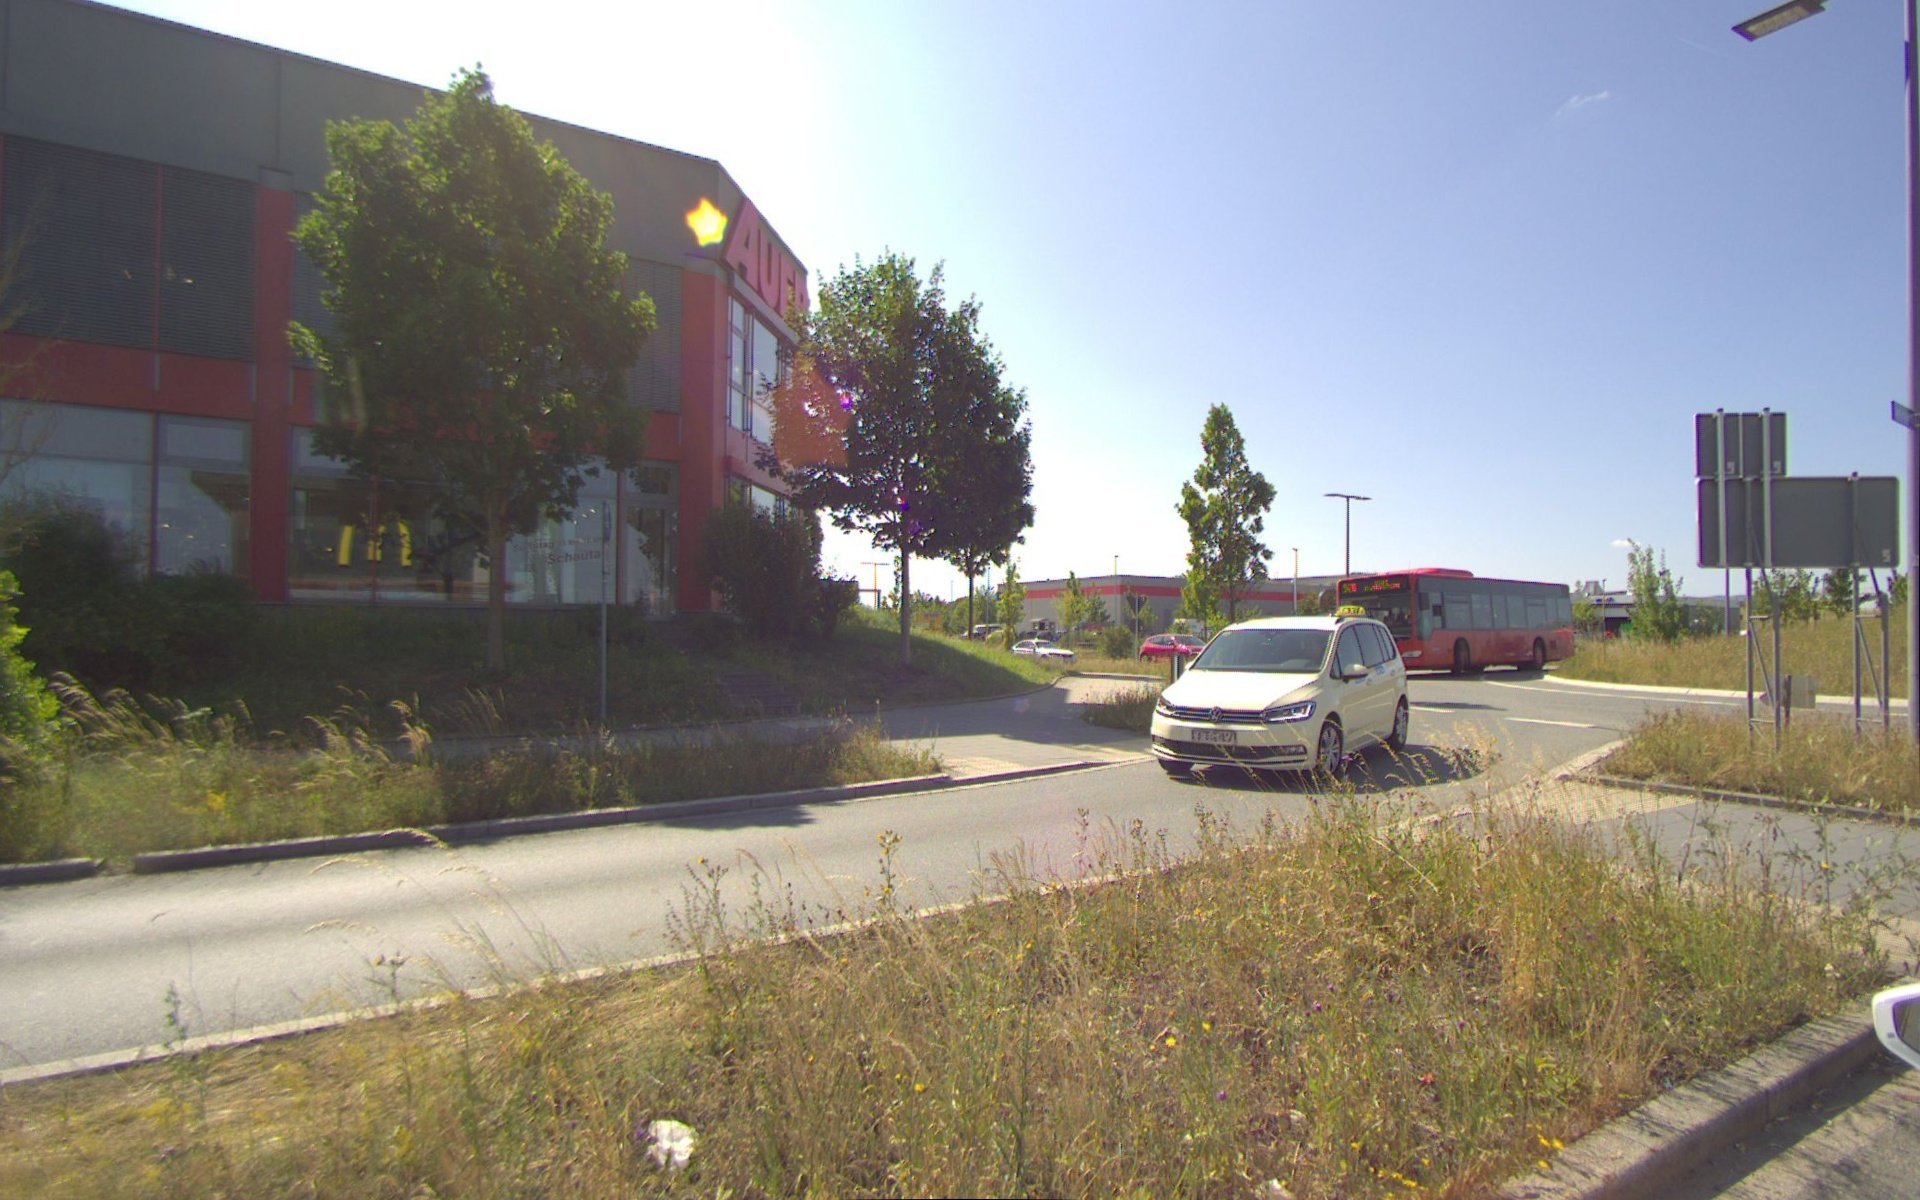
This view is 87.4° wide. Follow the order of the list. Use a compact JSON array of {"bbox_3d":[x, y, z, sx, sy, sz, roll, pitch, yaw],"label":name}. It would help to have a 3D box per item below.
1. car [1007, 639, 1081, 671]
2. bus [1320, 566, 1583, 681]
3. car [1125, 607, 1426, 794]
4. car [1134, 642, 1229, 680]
[{"bbox_3d":[4.125,2.708,49.910,1.632,1.471,3.766,2,-3,-36],"label":"car"},{"bbox_3d":[16.058,0.762,32.090,12.100,3.119,2.765,1,-3,-40],"label":"bus"},{"bbox_3d":[3.792,1.020,11.485,1.818,1.687,4.573,-3,-4,37],"label":"car"},{"bbox_3d":[8.887,2.415,40.569,1.553,1.405,3.972,2,-2,-28],"label":"car"}]
